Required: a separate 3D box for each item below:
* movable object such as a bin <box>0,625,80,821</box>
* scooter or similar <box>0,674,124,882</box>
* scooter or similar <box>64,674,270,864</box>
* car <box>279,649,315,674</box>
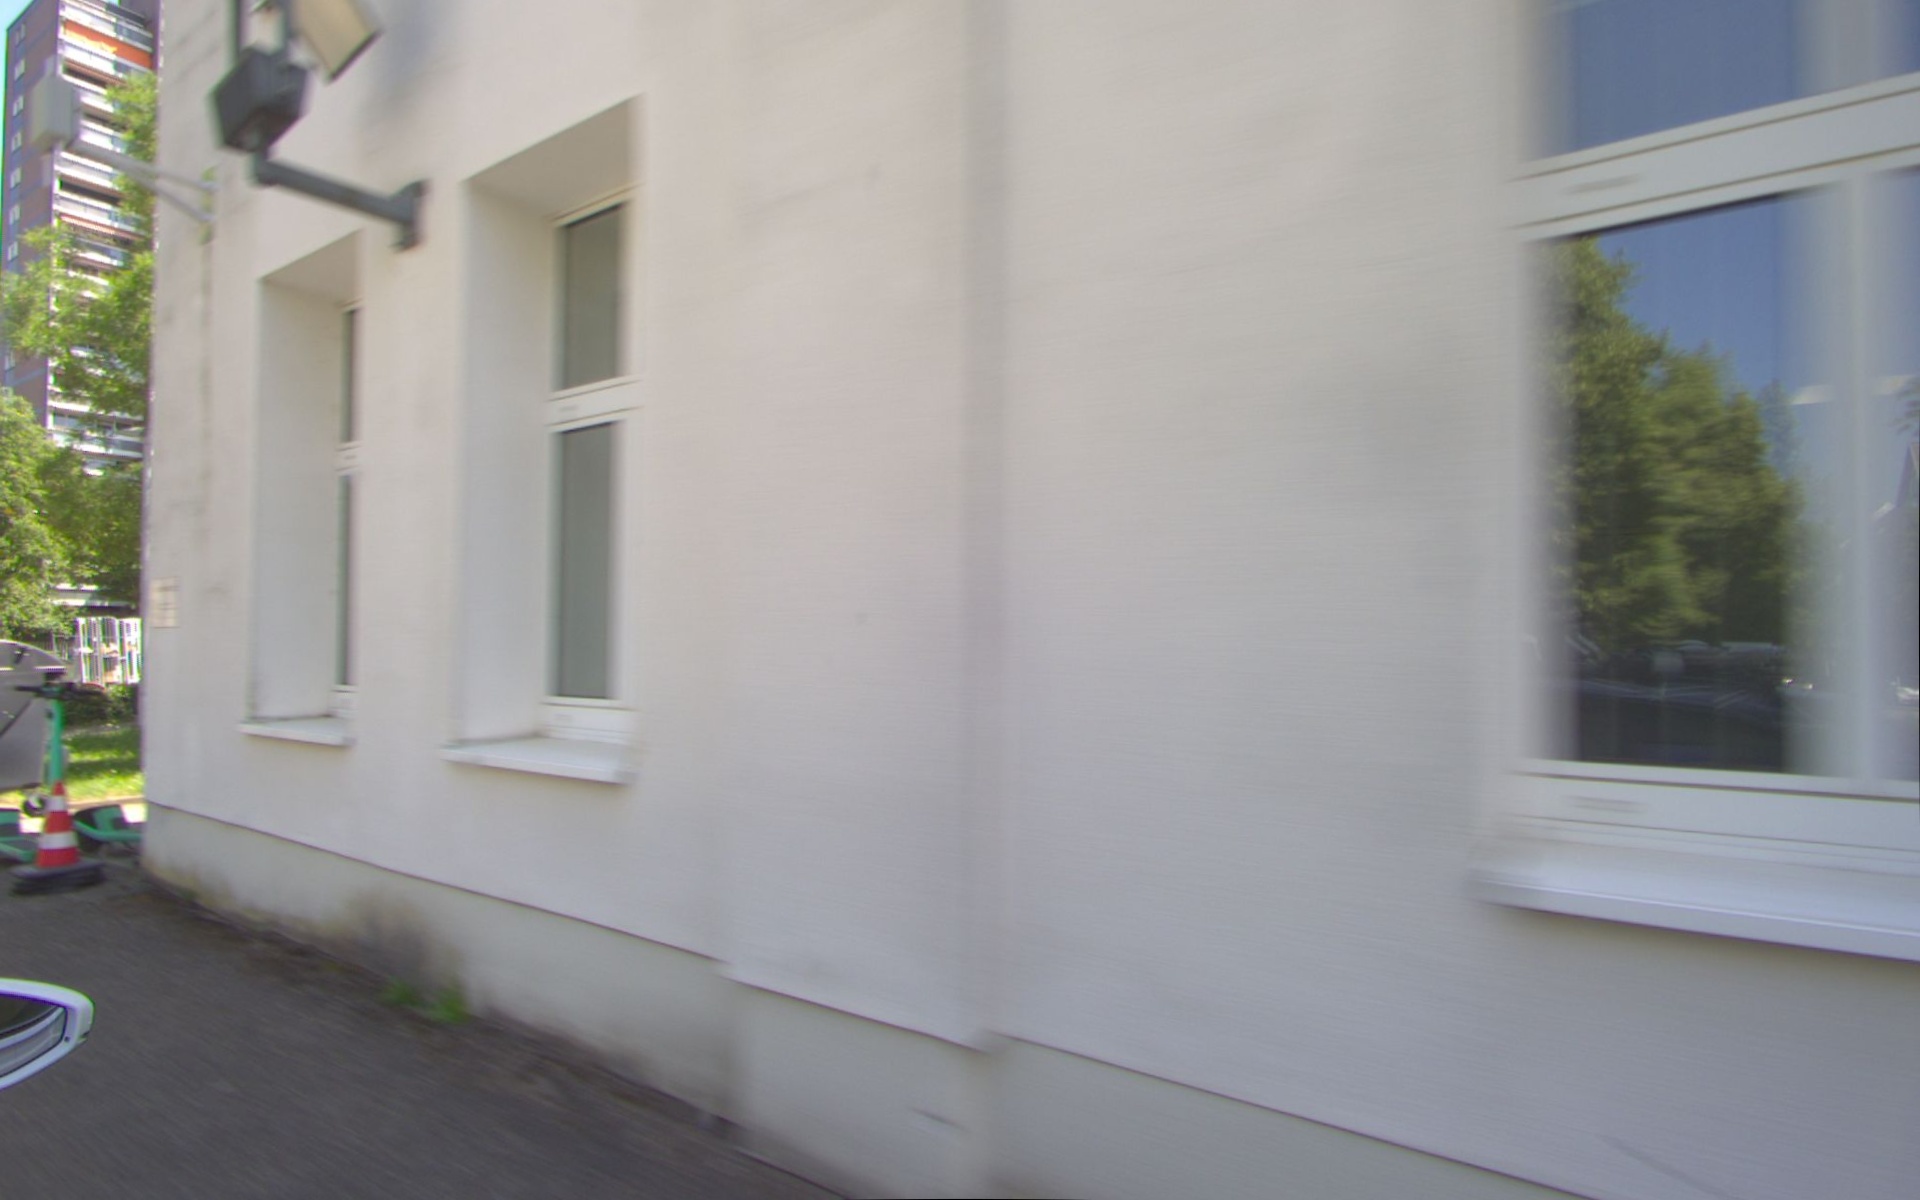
[{"bbox_3d":[-8.176,0.969,8.038,1.439,1.523,1.156,-1,-4,26],"label":"movable object such as a bin"},{"bbox_3d":[-5.985,1.082,6.394,1.335,1.188,0.464,-1,-3,27],"label":"scooter or similar"},{"bbox_3d":[-5.417,1.117,6.850,1.233,1.188,0.465,0,-2,18],"label":"scooter or similar"},{"bbox_3d":[-38.480,3.556,58.125,1.618,1.404,3.655,3,-4,-35],"label":"car"}]
